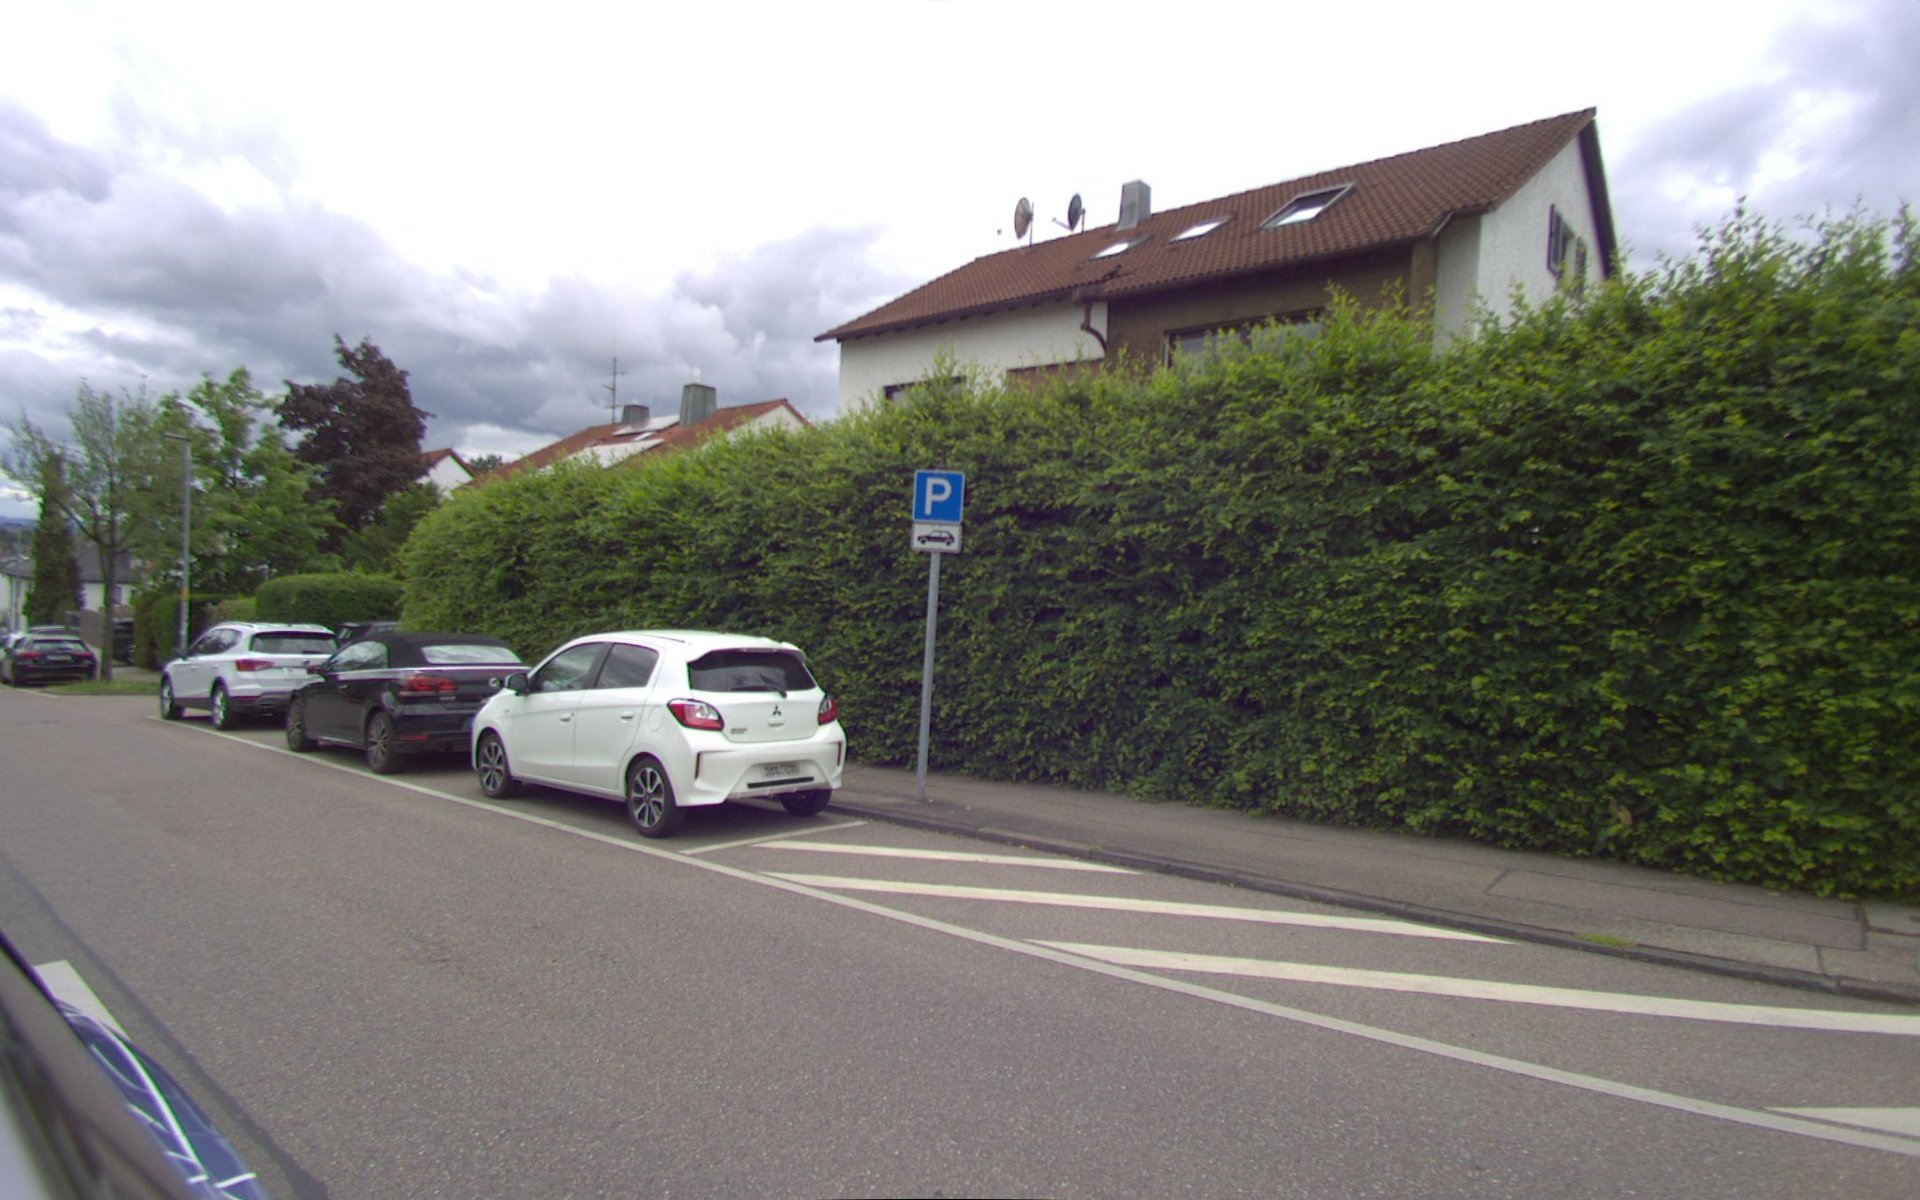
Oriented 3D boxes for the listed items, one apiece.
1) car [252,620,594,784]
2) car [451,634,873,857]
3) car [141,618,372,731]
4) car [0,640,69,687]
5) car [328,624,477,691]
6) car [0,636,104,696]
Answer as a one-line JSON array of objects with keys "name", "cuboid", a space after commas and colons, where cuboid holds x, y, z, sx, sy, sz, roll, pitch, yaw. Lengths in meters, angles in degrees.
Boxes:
[{"name": "car", "cuboid": [-6.266, 1.035, 11.545, 4.736, 1.501, 1.763, -1, -5, 41]}, {"name": "car", "cuboid": [-2.588, 1.039, 8.432, 3.577, 1.430, 1.672, -1, -5, 41]}, {"name": "car", "cuboid": [-10.936, 1.070, 15.625, 4.339, 1.501, 1.866, -2, -3, 41]}, {"name": "car", "cuboid": [-29.415, 1.941, 31.682, 3.997, 1.386, 1.703, -2, -3, 41]}, {"name": "car", "cuboid": [-13.464, 1.362, 24.514, 1.499, 1.517, 2.848, -2, -2, 44]}, {"name": "car", "cuboid": [-25.657, 1.785, 28.333, 4.003, 1.561, 1.920, -2, -3, 41]}]
